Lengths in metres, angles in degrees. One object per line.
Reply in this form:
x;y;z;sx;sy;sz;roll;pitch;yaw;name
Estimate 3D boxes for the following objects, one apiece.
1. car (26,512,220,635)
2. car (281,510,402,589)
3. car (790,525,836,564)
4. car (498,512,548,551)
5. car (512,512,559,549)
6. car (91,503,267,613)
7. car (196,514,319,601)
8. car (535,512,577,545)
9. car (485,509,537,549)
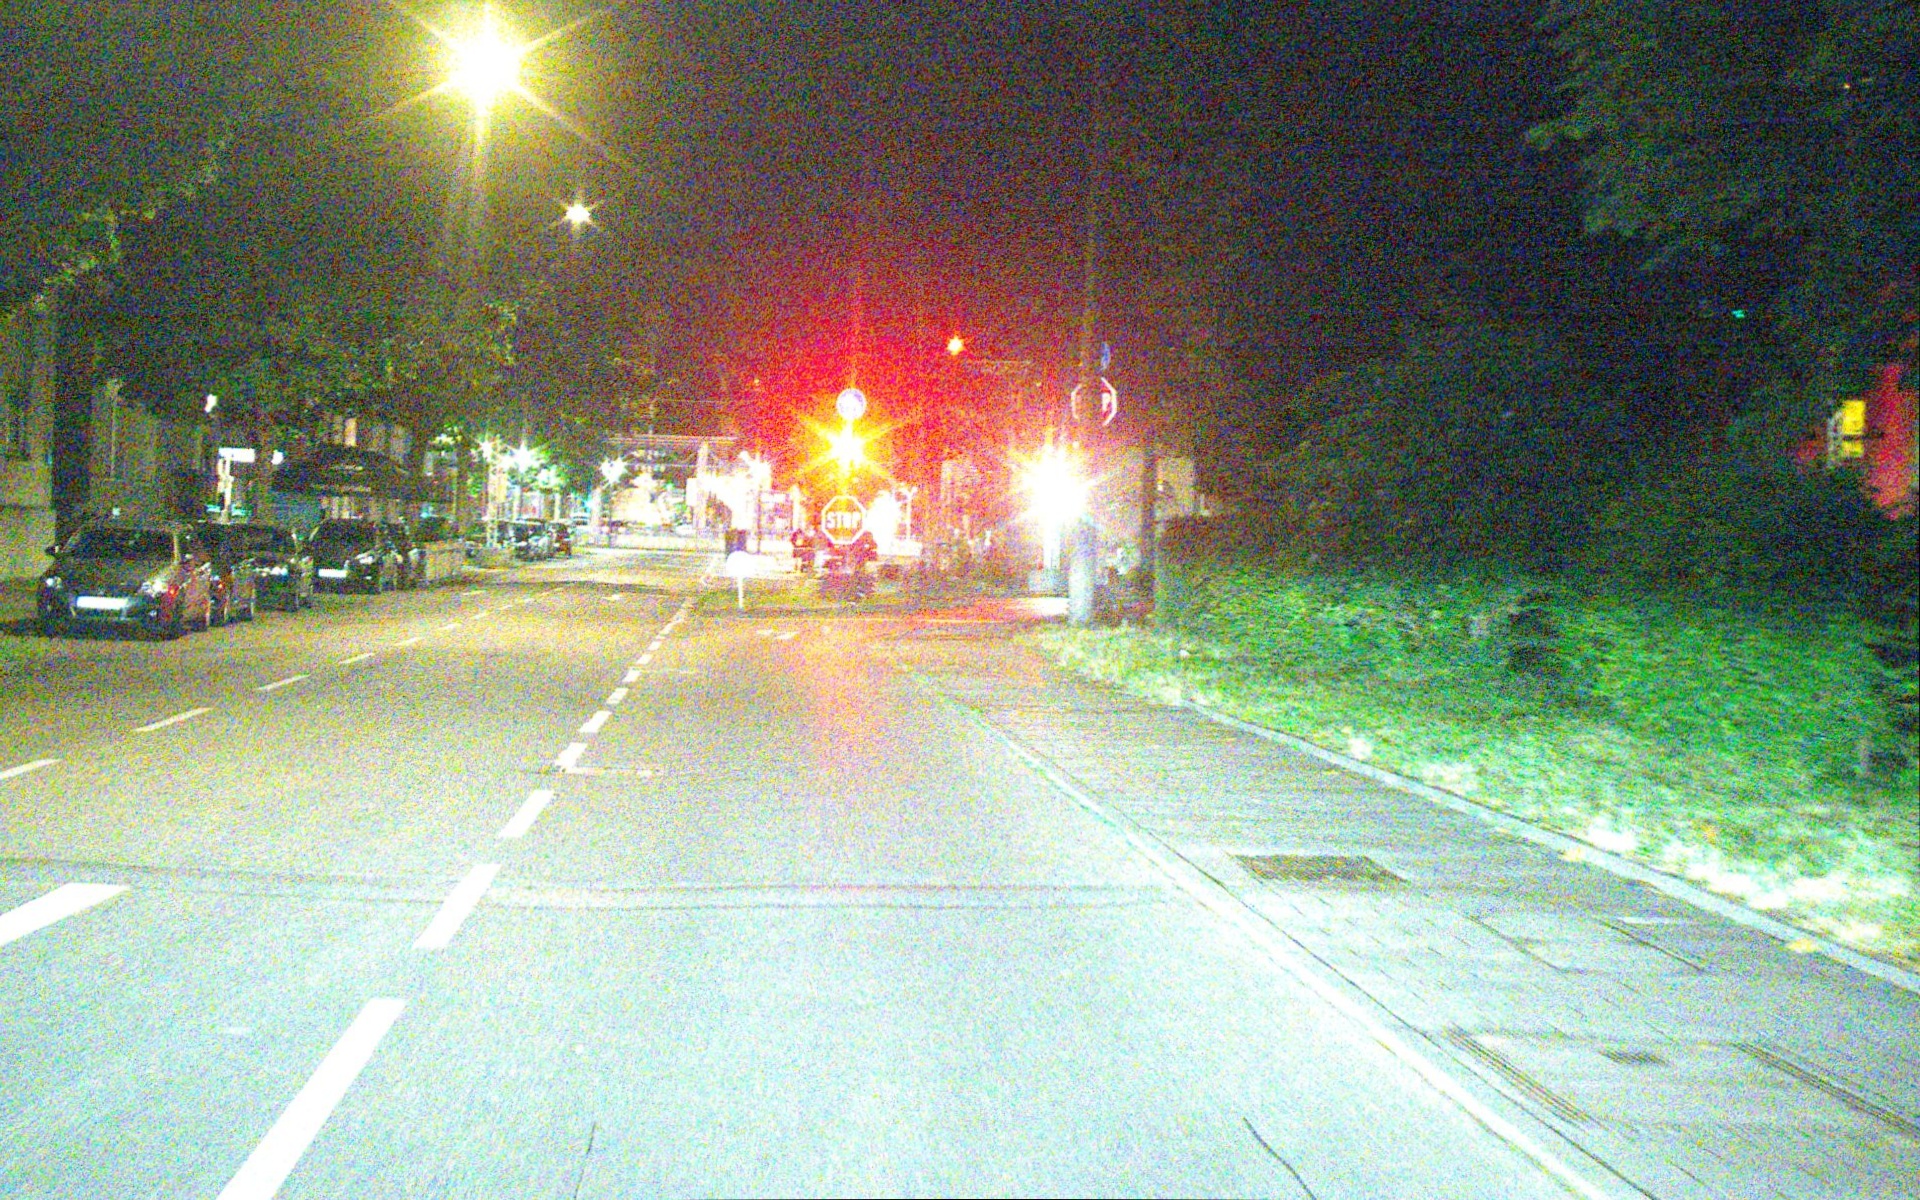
-10.861;-0.375;44.877;1.767;1.480;4.769;1;1;-5;car
-12.786;-1.074;71.291;1.899;1.466;4.453;3;1;-4;car
-5.564;-2.117;130.233;1.651;1.426;4.001;1;1;-2;car
-16.869;-2.650;132.901;1.651;1.426;4.001;1;1;-4;car
-17.236;-2.825;139.777;1.651;1.426;4.001;1;1;-4;car
-11.271;-0.623;49.894;1.768;1.480;4.865;1;1;-4;car
-11.859;-0.734;58.215;1.622;1.378;4.453;1;1;-6;car
-18.036;-3.180;153.488;1.651;1.426;4.001;1;1;-4;car
-16.557;-2.628;126.896;1.651;1.426;4.001;1;1;-4;car
